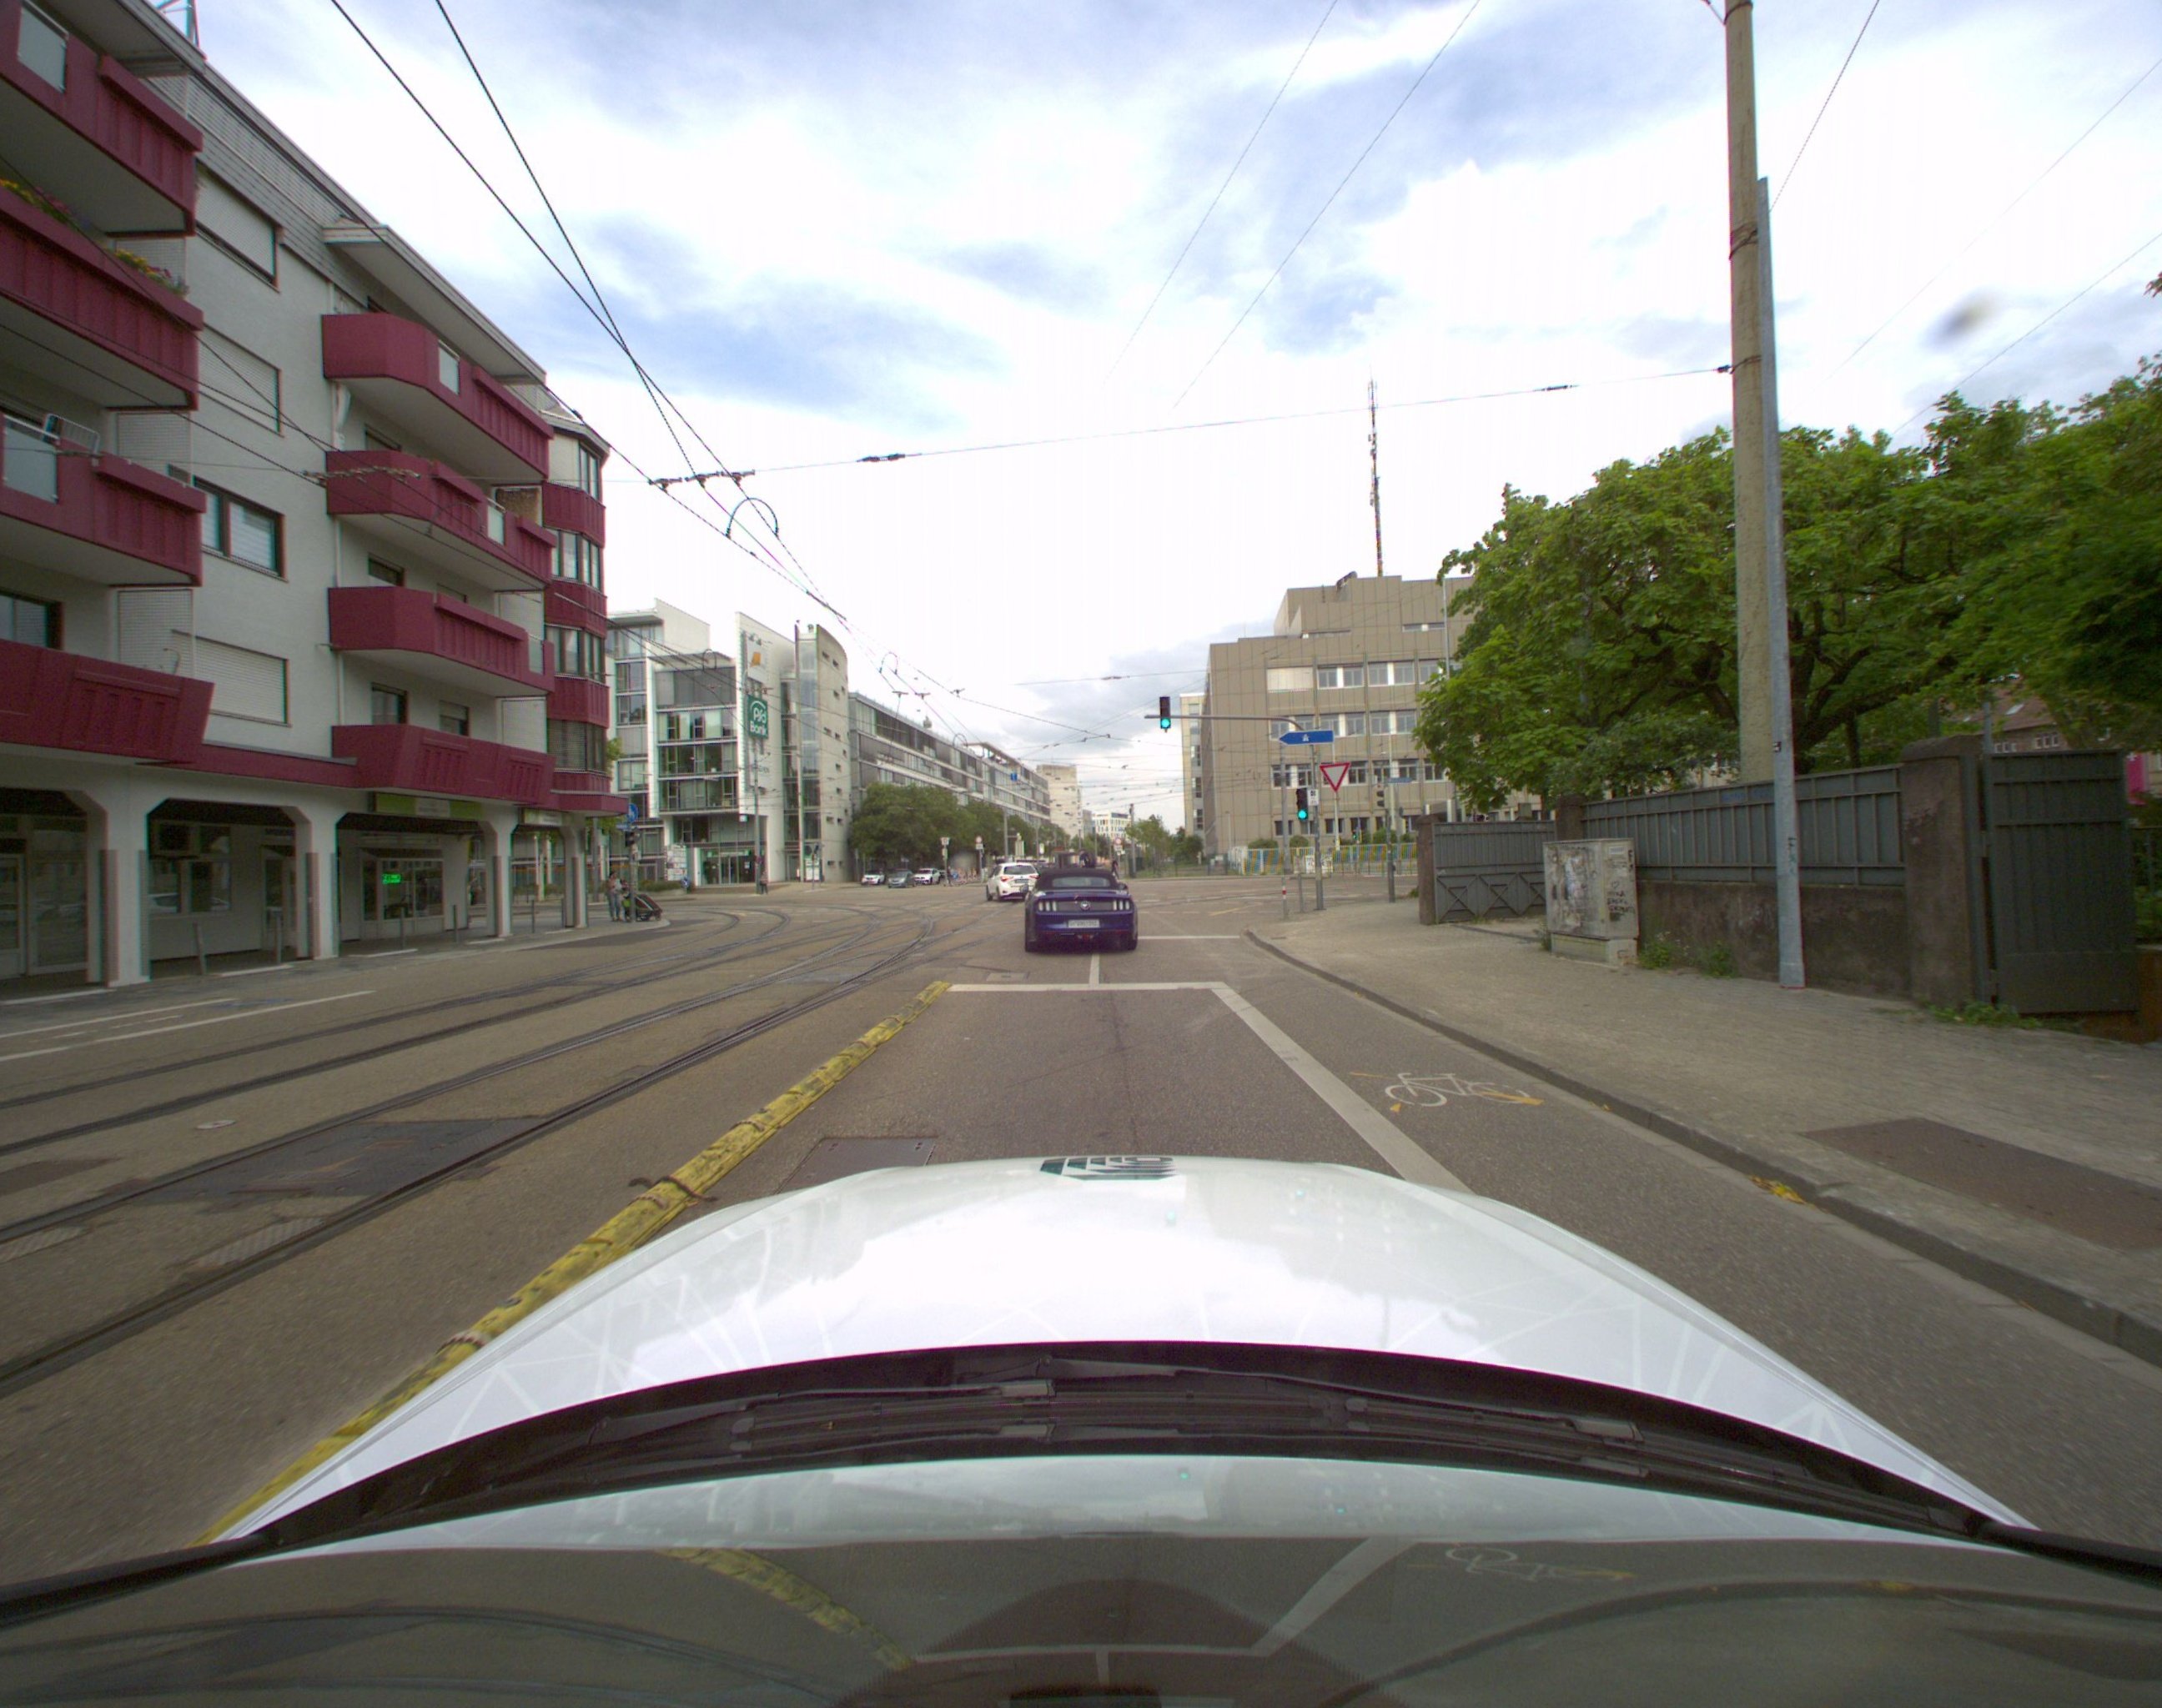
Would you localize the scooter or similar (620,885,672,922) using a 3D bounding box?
[{"bbox_3d":[-14.401,1.638,26.969,1.192,1.128,0.946,-1,-1,0],"label":"scooter or similar"}]

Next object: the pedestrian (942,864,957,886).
[{"bbox_3d":[-11.062,1.763,68.555,0.984,1.855,0.903,-3,-1,5],"label":"pedestrian"}]

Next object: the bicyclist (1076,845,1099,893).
[{"bbox_3d":[0.252,0.581,31.853,0.793,1.785,1.233,-2,-1,0],"label":"bicyclist"}]

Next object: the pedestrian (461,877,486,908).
[{"bbox_3d":[-37.583,2.374,50.374,0.839,1.855,0.840,-2,-1,0],"label":"pedestrian"}]

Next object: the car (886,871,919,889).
[{"bbox_3d":[-16.364,2.352,74.921,1.659,1.506,4.242,0,0,6],"label":"car"}]

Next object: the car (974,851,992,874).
[{"bbox_3d":[-15.301,1.321,127.299,1.977,3.637,4.516,0,-1,4],"label":"car"}]

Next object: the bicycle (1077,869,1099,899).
[{"bbox_3d":[0.291,1.170,31.988,0.797,1.086,2.131,-2,-1,1],"label":"bicycle"}]

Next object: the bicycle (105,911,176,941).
[{"bbox_3d":[-34.577,2.641,29.965,0.475,1.018,1.733,-2,-4,4],"label":"bicycle"}]

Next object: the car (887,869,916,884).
[{"bbox_3d":[-19.822,2.440,90.178,1.820,1.557,4.224,0,0,6],"label":"car"}]

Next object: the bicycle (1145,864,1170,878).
[{"bbox_3d":[6.001,1.360,63.994,0.637,0.981,2.133,-2,-4,-39],"label":"bicycle"}]

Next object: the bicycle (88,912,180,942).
[{"bbox_3d":[-35.135,2.691,30.270,0.622,1.018,2.186,-3,-4,8],"label":"bicycle"}]

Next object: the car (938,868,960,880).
[{"bbox_3d":[-17.556,2.653,108.310,1.977,1.557,4.516,0,0,4],"label":"car"}]

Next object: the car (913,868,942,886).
[{"bbox_3d":[-15.518,2.311,82.316,1.706,1.660,4.140,0,0,6],"label":"car"}]

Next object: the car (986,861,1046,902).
[{"bbox_3d":[-2.668,1.068,32.457,1.837,1.439,4.169,-2,-1,-12],"label":"car"}]

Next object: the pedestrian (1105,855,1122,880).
[{"bbox_3d":[2.610,1.045,64.495,1.077,1.898,0.905,-3,-1,16],"label":"pedestrian"}]

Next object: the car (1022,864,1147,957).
[{"bbox_3d":[-0.095,0.903,14.865,1.873,1.404,4.274,-1,-1,-5],"label":"car"}]

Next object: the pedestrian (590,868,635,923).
[{"bbox_3d":[-15.477,1.370,26.924,0.945,1.743,0.812,-2,-1,-2],"label":"pedestrian"}]

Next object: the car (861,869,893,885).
[{"bbox_3d":[-20.681,2.342,82.818,1.820,1.557,4.224,0,0,6],"label":"car"}]

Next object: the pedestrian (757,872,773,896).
[{"bbox_3d":[-24.920,2.386,64.268,0.827,1.865,0.769,-3,-1,14],"label":"pedestrian"}]

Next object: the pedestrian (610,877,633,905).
[{"bbox_3d":[-28.427,2.313,50.426,0.928,1.671,0.769,-3,-1,14],"label":"pedestrian"}]

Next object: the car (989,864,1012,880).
[{"bbox_3d":[-8.728,1.949,88.907,1.872,1.628,4.089,-2,-1,2],"label":"car"}]
